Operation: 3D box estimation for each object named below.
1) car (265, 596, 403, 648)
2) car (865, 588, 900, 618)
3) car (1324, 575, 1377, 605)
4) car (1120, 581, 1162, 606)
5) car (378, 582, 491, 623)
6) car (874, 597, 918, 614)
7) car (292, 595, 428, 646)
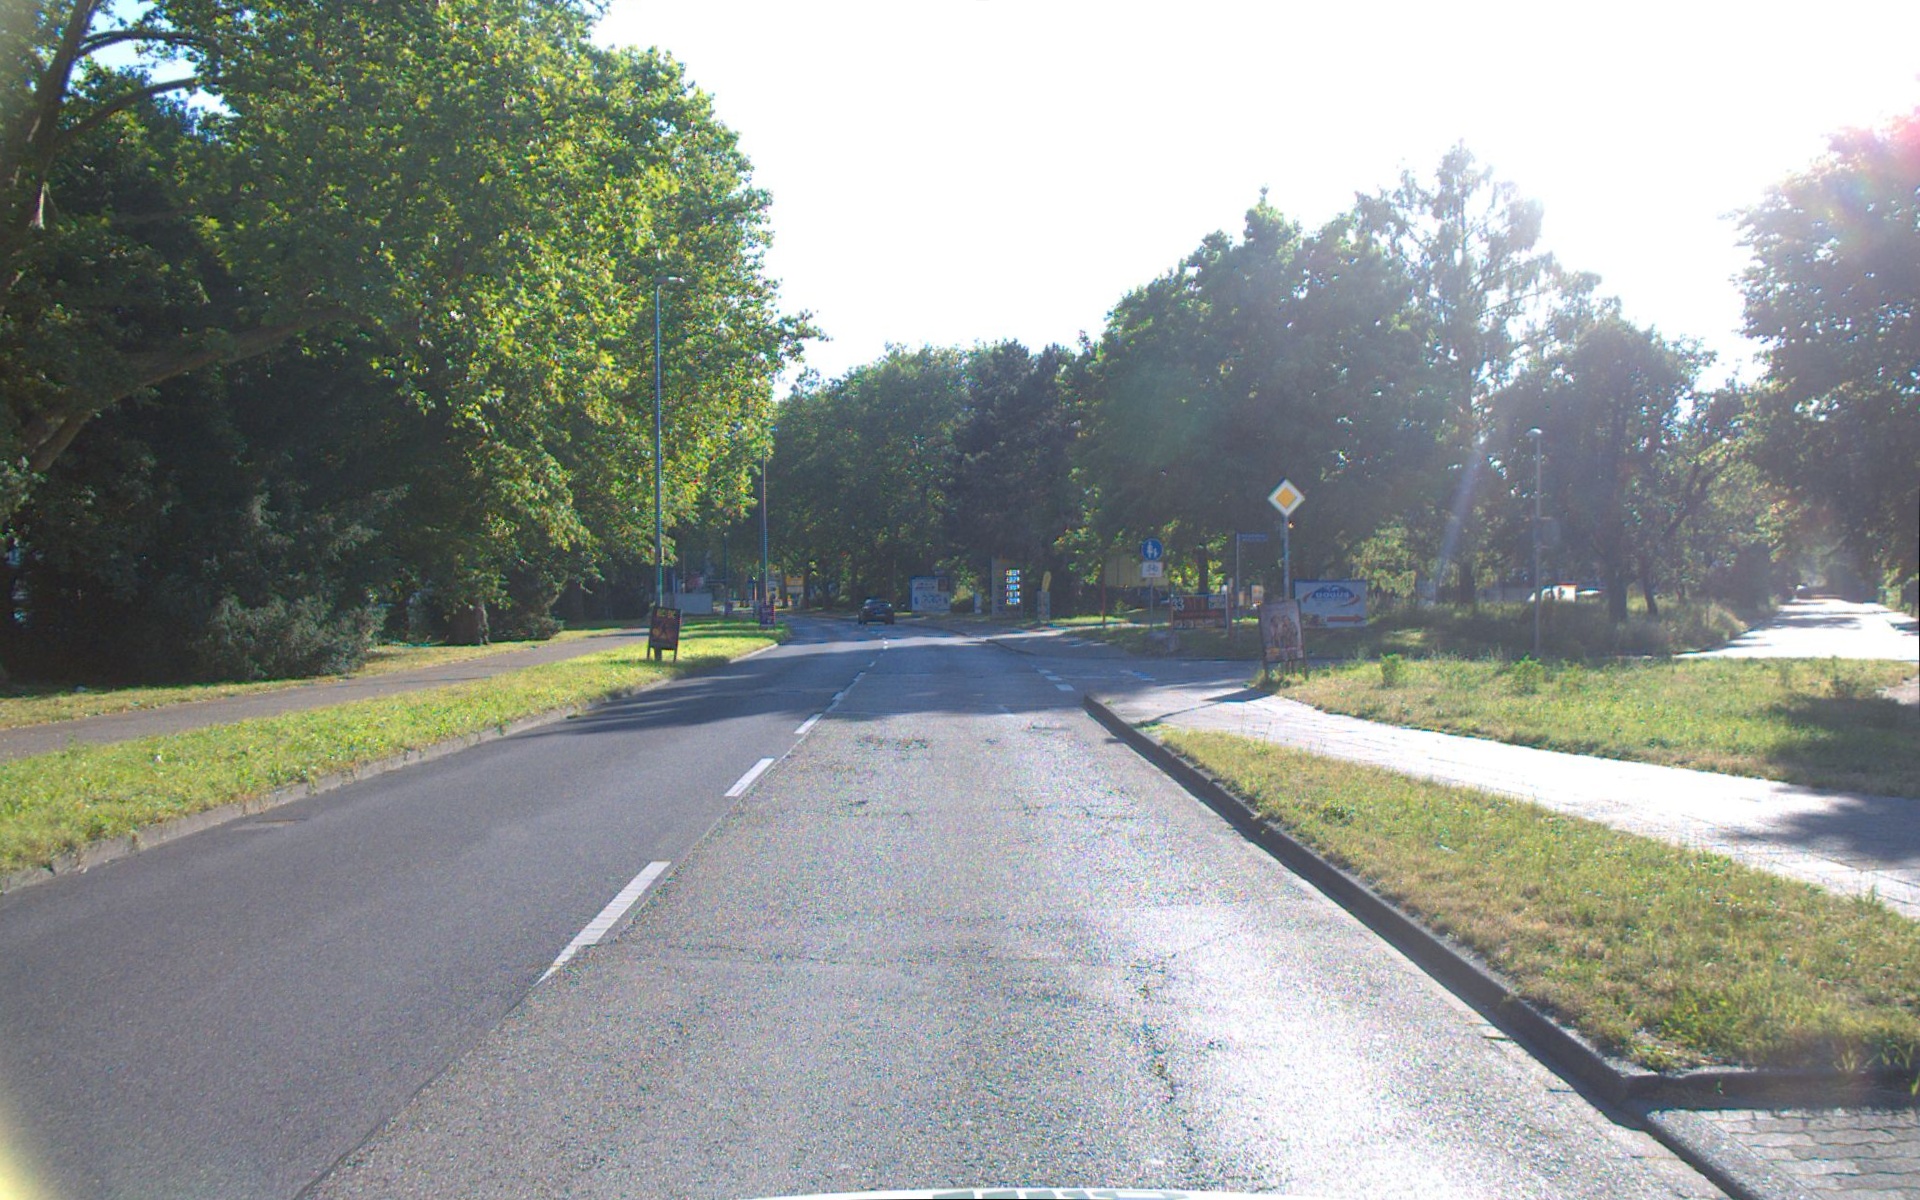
[{"bbox_3d":[-19.463,0.669,51.536,3.654,1.526,1.812,-1,0,-6],"label":"car"},{"bbox_3d":[-4.421,0.179,94.956,1.802,1.633,3.862,-1,0,0],"label":"car"},{"bbox_3d":[24.337,-0.630,103.177,1.778,1.758,4.391,-1,1,-7],"label":"car"},{"bbox_3d":[11.030,-0.401,101.018,1.805,1.445,3.996,-1,0,-5],"label":"car"},{"bbox_3d":[-20.382,0.085,64.284,3.912,1.534,1.909,1,0,-8],"label":"car"},{"bbox_3d":[-6.097,0.529,156.730,3.917,1.468,1.755,-2,0,-12],"label":"car"},{"bbox_3d":[-20.582,0.680,56.897,4.049,1.624,1.949,-1,0,-10],"label":"car"}]
